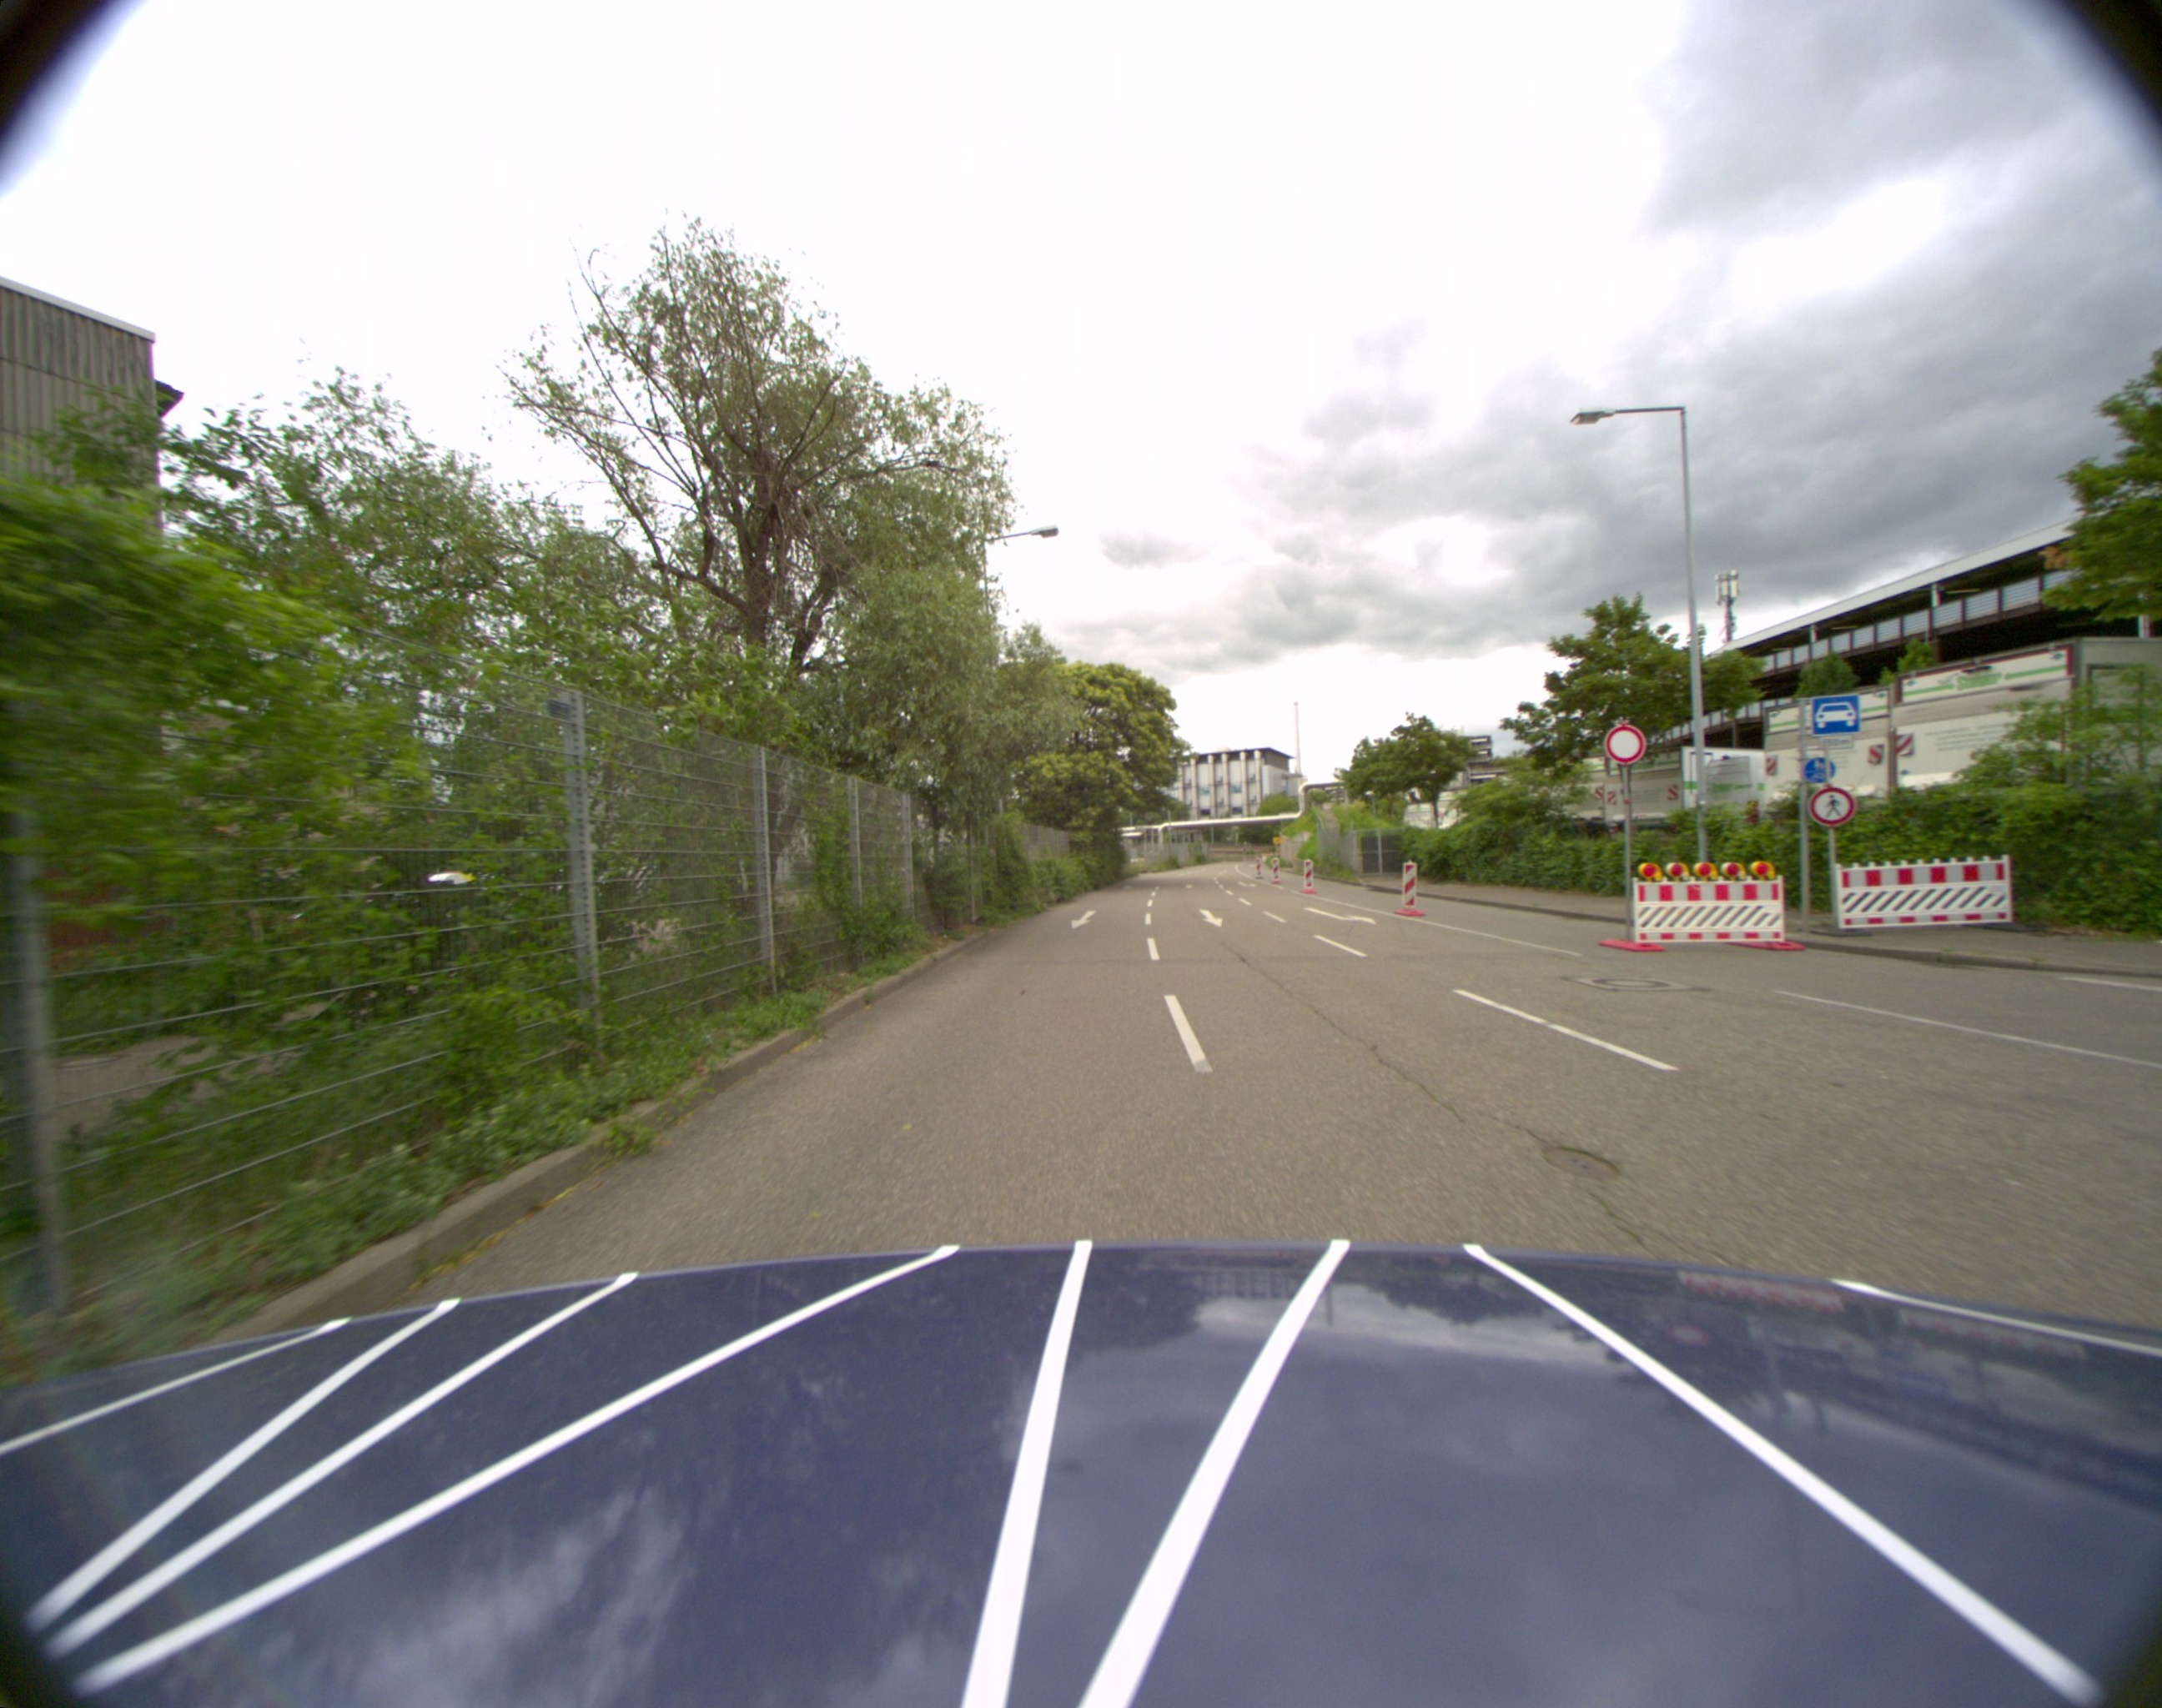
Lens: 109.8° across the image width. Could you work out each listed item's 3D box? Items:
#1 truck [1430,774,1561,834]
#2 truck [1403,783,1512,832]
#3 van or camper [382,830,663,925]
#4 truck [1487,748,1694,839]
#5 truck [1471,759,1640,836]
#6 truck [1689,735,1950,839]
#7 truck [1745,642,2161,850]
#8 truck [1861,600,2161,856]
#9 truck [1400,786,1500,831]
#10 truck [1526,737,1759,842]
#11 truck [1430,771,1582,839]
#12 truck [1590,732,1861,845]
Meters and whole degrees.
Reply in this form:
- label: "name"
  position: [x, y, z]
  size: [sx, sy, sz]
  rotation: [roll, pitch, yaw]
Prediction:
- label: "truck"
  position: [27.035, -3.249, 49.578]
  size: [7.873, 3.519, 3.046]
  rotation: [-3, 2, -20]
- label: "truck"
  position: [29.582, -3.637, 59.765]
  size: [7.873, 3.519, 3.046]
  rotation: [-3, 2, -20]
- label: "van or camper"
  position: [-30.745, 1.210, 42.311]
  size: [11.830, 4.505, 5.487]
  rotation: [-2, 2, 7]
- label: "truck"
  position: [22.132, -2.608, 33.070]
  size: [7.870, 3.519, 3.047]
  rotation: [-3, 2, -15]
- label: "truck"
  position: [24.018, -2.863, 38.473]
  size: [7.873, 3.519, 3.046]
  rotation: [-3, 2, -20]
- label: "truck"
  position: [19.452, -1.707, 20.211]
  size: [4.699, 2.392, 2.195]
  rotation: [-3, 2, 3]
- label: "truck"
  position: [19.907, -2.277, 16.910]
  size: [7.863, 3.969, 3.050]
  rotation: [-3, 2, -4]
- label: "truck"
  position: [20.284, -2.208, 13.668]
  size: [9.647, 3.969, 3.051]
  rotation: [-3, 2, -2]
- label: "truck"
  position: [31.688, -3.879, 65.212]
  size: [7.873, 3.519, 3.046]
  rotation: [-3, 2, -20]
- label: "truck"
  position: [21.073, -2.414, 28.545]
  size: [7.872, 3.519, 3.047]
  rotation: [-3, 2, -18]
- label: "truck"
  position: [24.561, -2.833, 43.919]
  size: [8.161, 3.519, 3.046]
  rotation: [-3, 2, -20]
- label: "truck"
  position: [20.869, -2.117, 24.646]
  size: [7.872, 3.232, 3.047]
  rotation: [-3, 2, -18]
